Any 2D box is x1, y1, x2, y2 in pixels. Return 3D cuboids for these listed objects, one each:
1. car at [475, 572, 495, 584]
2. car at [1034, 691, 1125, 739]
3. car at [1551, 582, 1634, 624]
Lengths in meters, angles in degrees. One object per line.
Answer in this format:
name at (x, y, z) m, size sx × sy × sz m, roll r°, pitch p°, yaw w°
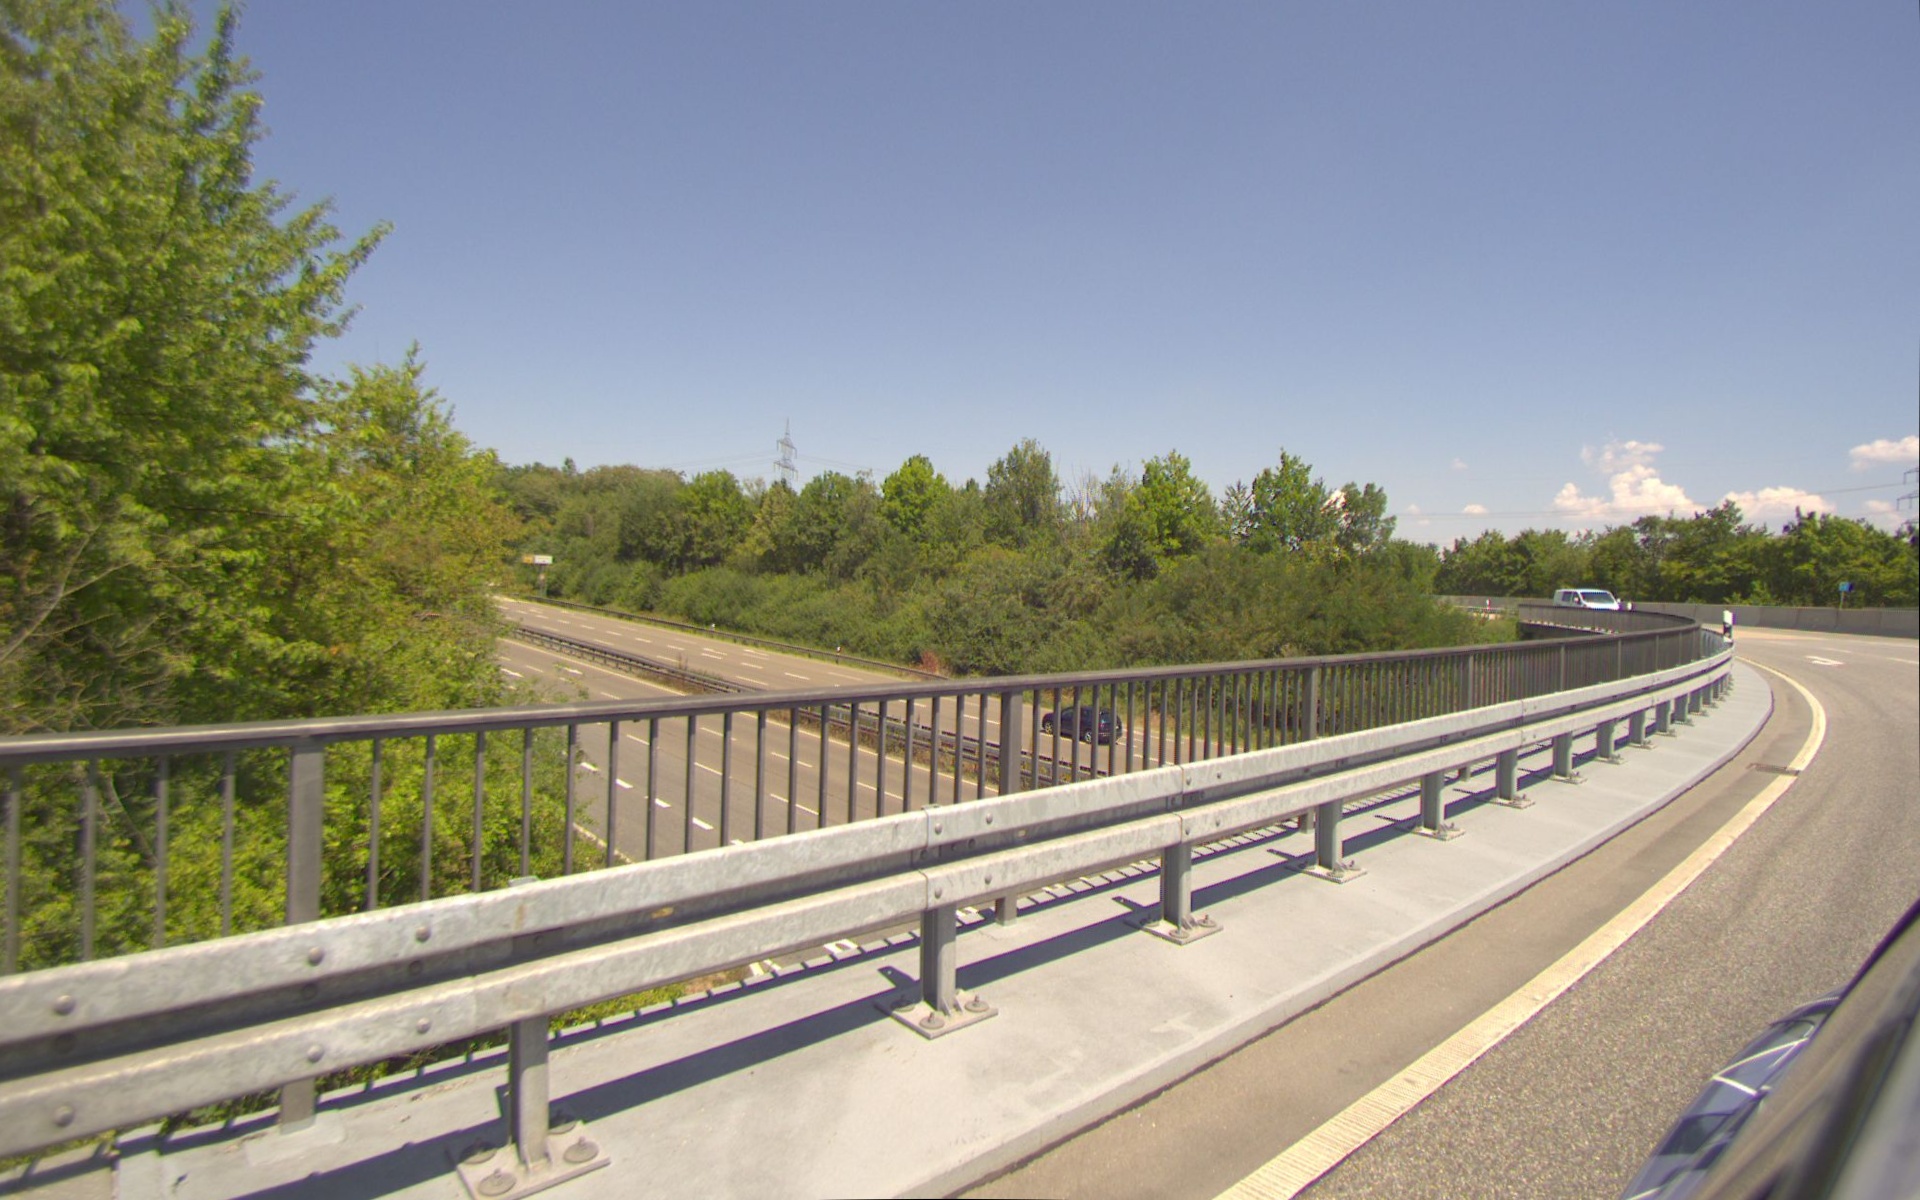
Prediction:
car at (-82.162, -3.813, 175.129) m, size 1.966 × 2.038 × 3.993 m, roll 0°, pitch 2°, yaw -42°
car at (5.640, 5.392, 48.034) m, size 1.965 × 1.636 × 3.994 m, roll 0°, pitch 2°, yaw -41°
car at (34.986, 0.115, 56.181) m, size 2.001 × 2.110 × 5.852 m, roll 1°, pitch 2°, yaw 12°
